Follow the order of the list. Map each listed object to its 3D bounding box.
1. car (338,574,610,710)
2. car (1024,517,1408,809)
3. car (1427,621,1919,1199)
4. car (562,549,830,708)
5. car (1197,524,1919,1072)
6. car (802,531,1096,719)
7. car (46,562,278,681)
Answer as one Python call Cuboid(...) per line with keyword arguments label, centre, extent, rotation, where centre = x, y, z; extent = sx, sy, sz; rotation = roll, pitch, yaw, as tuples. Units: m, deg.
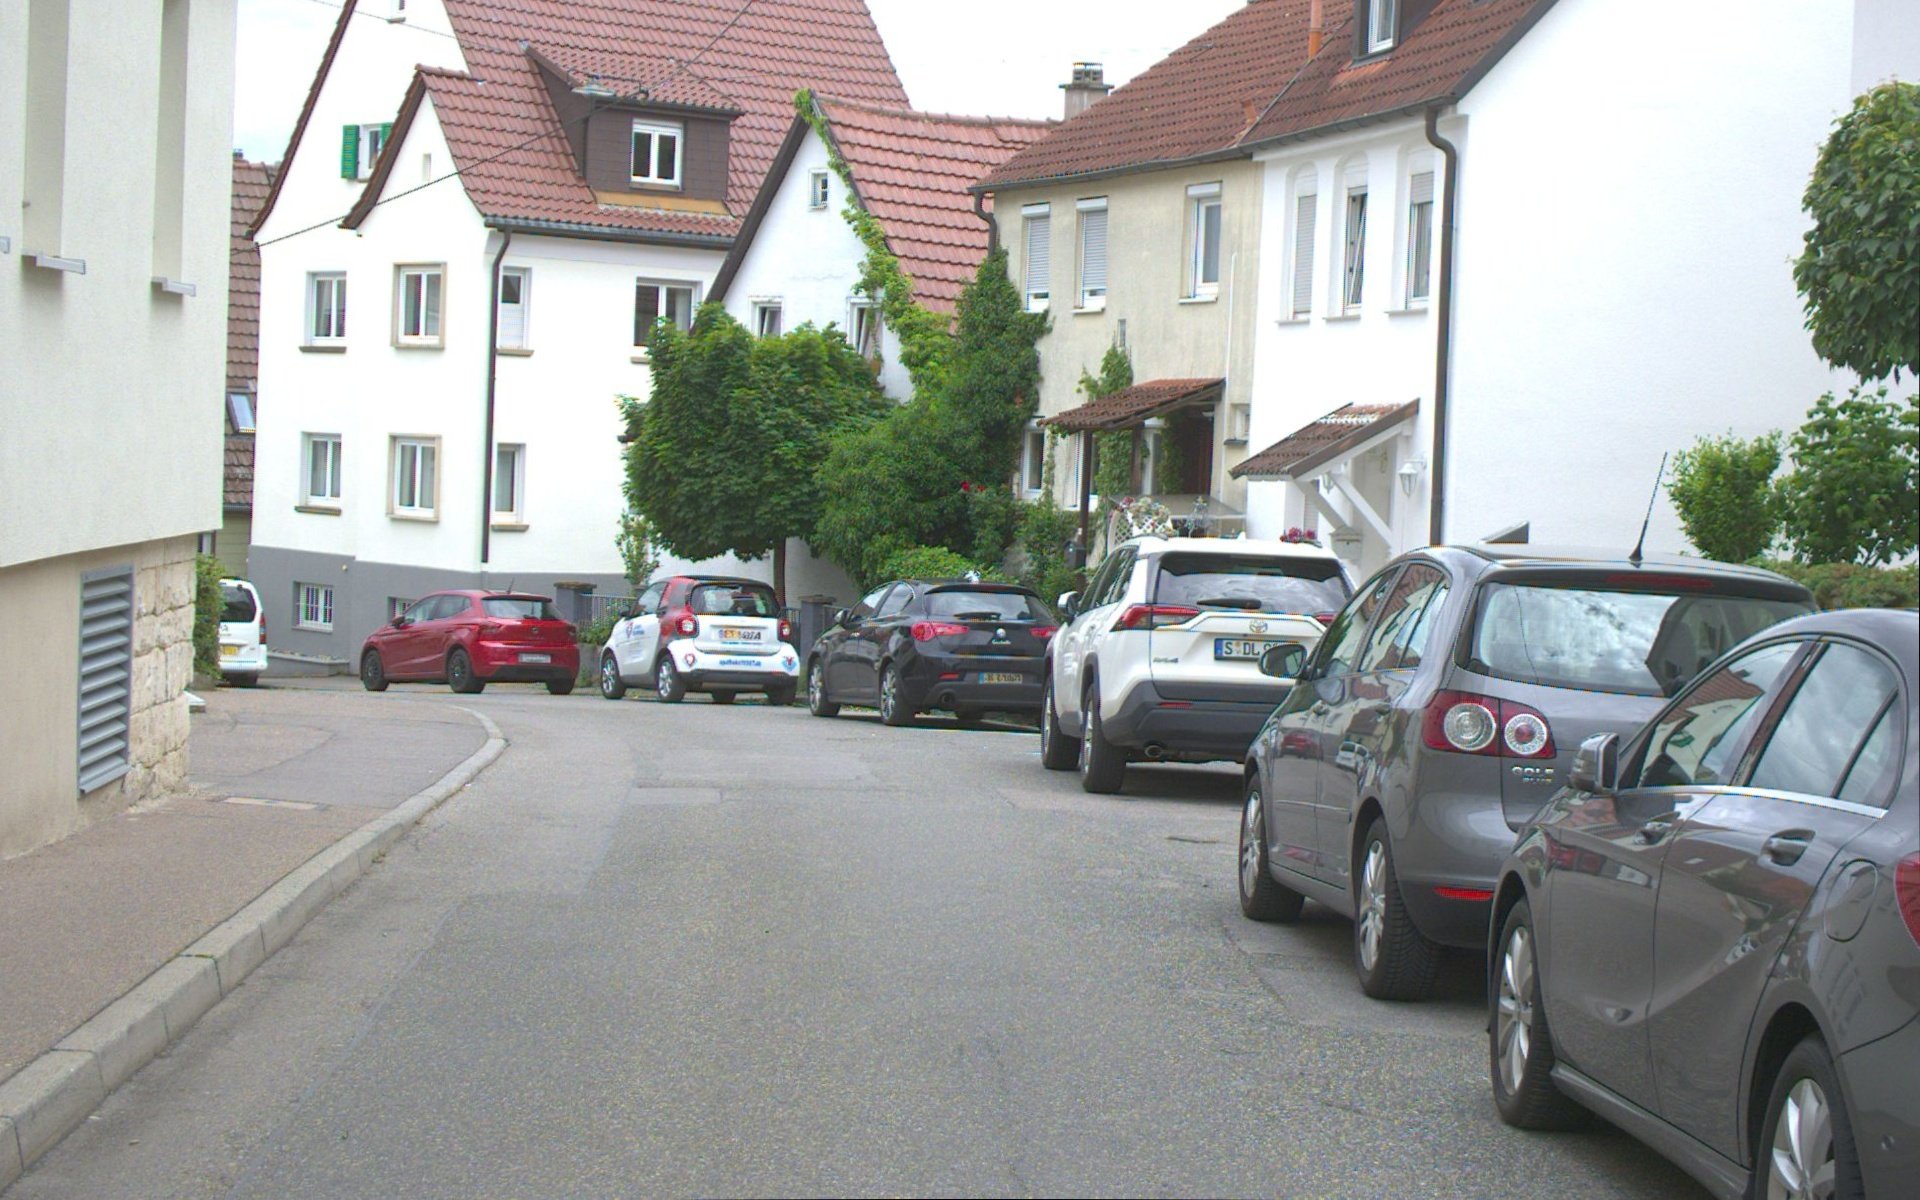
Cuboid(label="car", centre=(-6.805, 0.589, 47.845), extent=(1.994, 1.678, 3.999), rotation=(-5, 2, -36))
Cuboid(label="car", centre=(1.586, 0.361, 22.801), extent=(1.873, 1.707, 4.148), rotation=(2, 0, -5))
Cuboid(label="car", centre=(2.300, 0.782, 7.646), extent=(1.796, 1.347, 4.075), rotation=(2, 0, -2))
Cuboid(label="car", centre=(-3.315, 0.323, 42.477), extent=(1.962, 1.707, 4.001), rotation=(2, 2, -25))
Cuboid(label="car", centre=(2.068, 0.604, 12.860), extent=(1.736, 1.605, 4.001), rotation=(5, 0, -3))
Cuboid(label="car", centre=(-0.178, 0.256, 33.605), extent=(1.993, 1.707, 4.001), rotation=(1, -1, -13))
Cuboid(label="car", centre=(-12.972, 0.314, 55.763), extent=(2.060, 1.639, 3.999), rotation=(-1, 4, -40))
